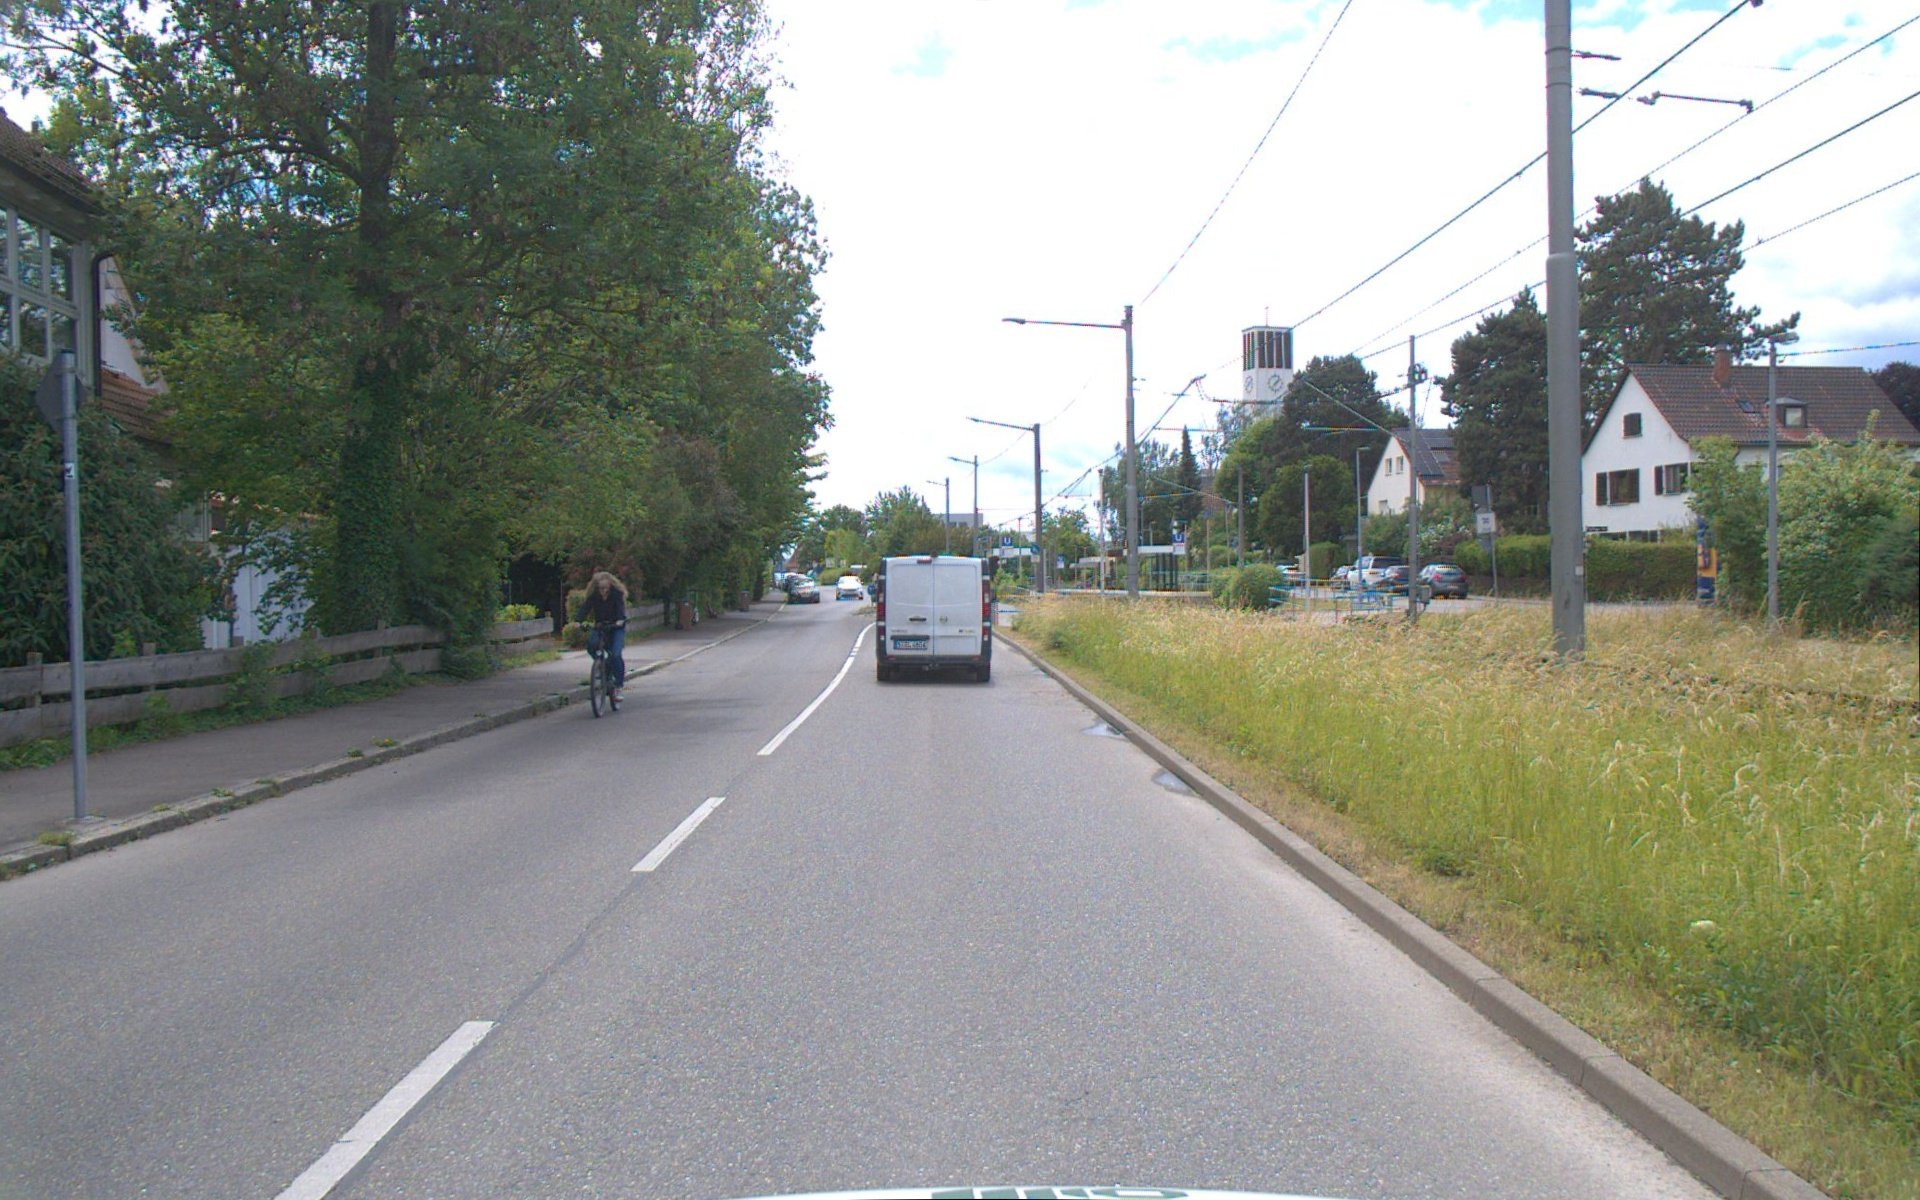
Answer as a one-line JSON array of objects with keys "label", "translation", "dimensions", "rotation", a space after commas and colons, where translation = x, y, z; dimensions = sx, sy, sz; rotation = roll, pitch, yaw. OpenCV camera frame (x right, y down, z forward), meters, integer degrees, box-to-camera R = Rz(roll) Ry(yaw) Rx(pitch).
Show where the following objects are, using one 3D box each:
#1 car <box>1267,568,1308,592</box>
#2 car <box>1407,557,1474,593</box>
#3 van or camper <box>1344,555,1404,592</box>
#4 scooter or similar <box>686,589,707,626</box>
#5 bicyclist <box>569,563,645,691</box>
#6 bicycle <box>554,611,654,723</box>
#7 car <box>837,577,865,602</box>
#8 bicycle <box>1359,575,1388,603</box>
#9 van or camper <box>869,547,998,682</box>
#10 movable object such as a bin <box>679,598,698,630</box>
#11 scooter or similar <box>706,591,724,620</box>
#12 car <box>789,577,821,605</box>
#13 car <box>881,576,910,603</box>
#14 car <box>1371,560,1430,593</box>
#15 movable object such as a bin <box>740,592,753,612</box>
[{"label": "car", "translation": [21.341, -1.300, 107.835], "dimensions": [1.845, 1.548, 4.000], "rotation": [-1, 1, 0]}, {"label": "car", "translation": [21.774, -1.129, 75.093], "dimensions": [1.845, 1.548, 4.000], "rotation": [-1, 1, 0]}, {"label": "van or camper", "translation": [21.503, -1.368, 86.157], "dimensions": [1.866, 1.857, 5.047], "rotation": [-1, 1, 0]}, {"label": "scooter or similar", "translation": [-8.854, 0.238, 55.627], "dimensions": [0.400, 1.220, 1.639], "rotation": [-1, 1, 0]}, {"label": "bicyclist", "translation": [-4.467, 0.327, 20.983], "dimensions": [0.762, 1.576, 0.869], "rotation": [-1, 0, -1]}, {"label": "bicycle", "translation": [-4.450, 0.808, 20.821], "dimensions": [0.740, 1.248, 2.308], "rotation": [-2, 1, -1]}, {"label": "car", "translation": [-6.914, -0.667, 104.462], "dimensions": [1.660, 1.455, 3.783], "rotation": [-3, 1, -4]}, {"label": "bicycle", "translation": [16.355, -0.437, 65.452], "dimensions": [0.527, 1.063, 2.540], "rotation": [-1, 1, 0]}, {"label": "van or camper", "translation": [-0.423, 0.216, 27.524], "dimensions": [1.953, 2.049, 4.445], "rotation": [1, 0, 0]}, {"label": "movable object such as a bin", "translation": [-8.232, 0.415, 50.158], "dimensions": [0.503, 0.961, 0.568], "rotation": [0, 0, -2]}, {"label": "scooter or similar", "translation": [-9.470, 0.197, 63.853], "dimensions": [0.470, 1.100, 1.207], "rotation": [0, 1, -19]}, {"label": "car", "translation": [-9.085, -0.553, 96.924], "dimensions": [1.704, 1.531, 4.471], "rotation": [-3, 1, -7]}, {"label": "car", "translation": [-4.260, -0.696, 108.066], "dimensions": [1.815, 1.677, 3.732], "rotation": [-1, 1, -3]}, {"label": "car", "translation": [21.575, -1.143, 81.169], "dimensions": [1.845, 1.548, 4.000], "rotation": [-1, 1, 0]}, {"label": "movable object such as a bin", "translation": [-10.000, 0.095, 77.444], "dimensions": [0.455, 0.946, 0.428], "rotation": [3, -1, -18]}]
